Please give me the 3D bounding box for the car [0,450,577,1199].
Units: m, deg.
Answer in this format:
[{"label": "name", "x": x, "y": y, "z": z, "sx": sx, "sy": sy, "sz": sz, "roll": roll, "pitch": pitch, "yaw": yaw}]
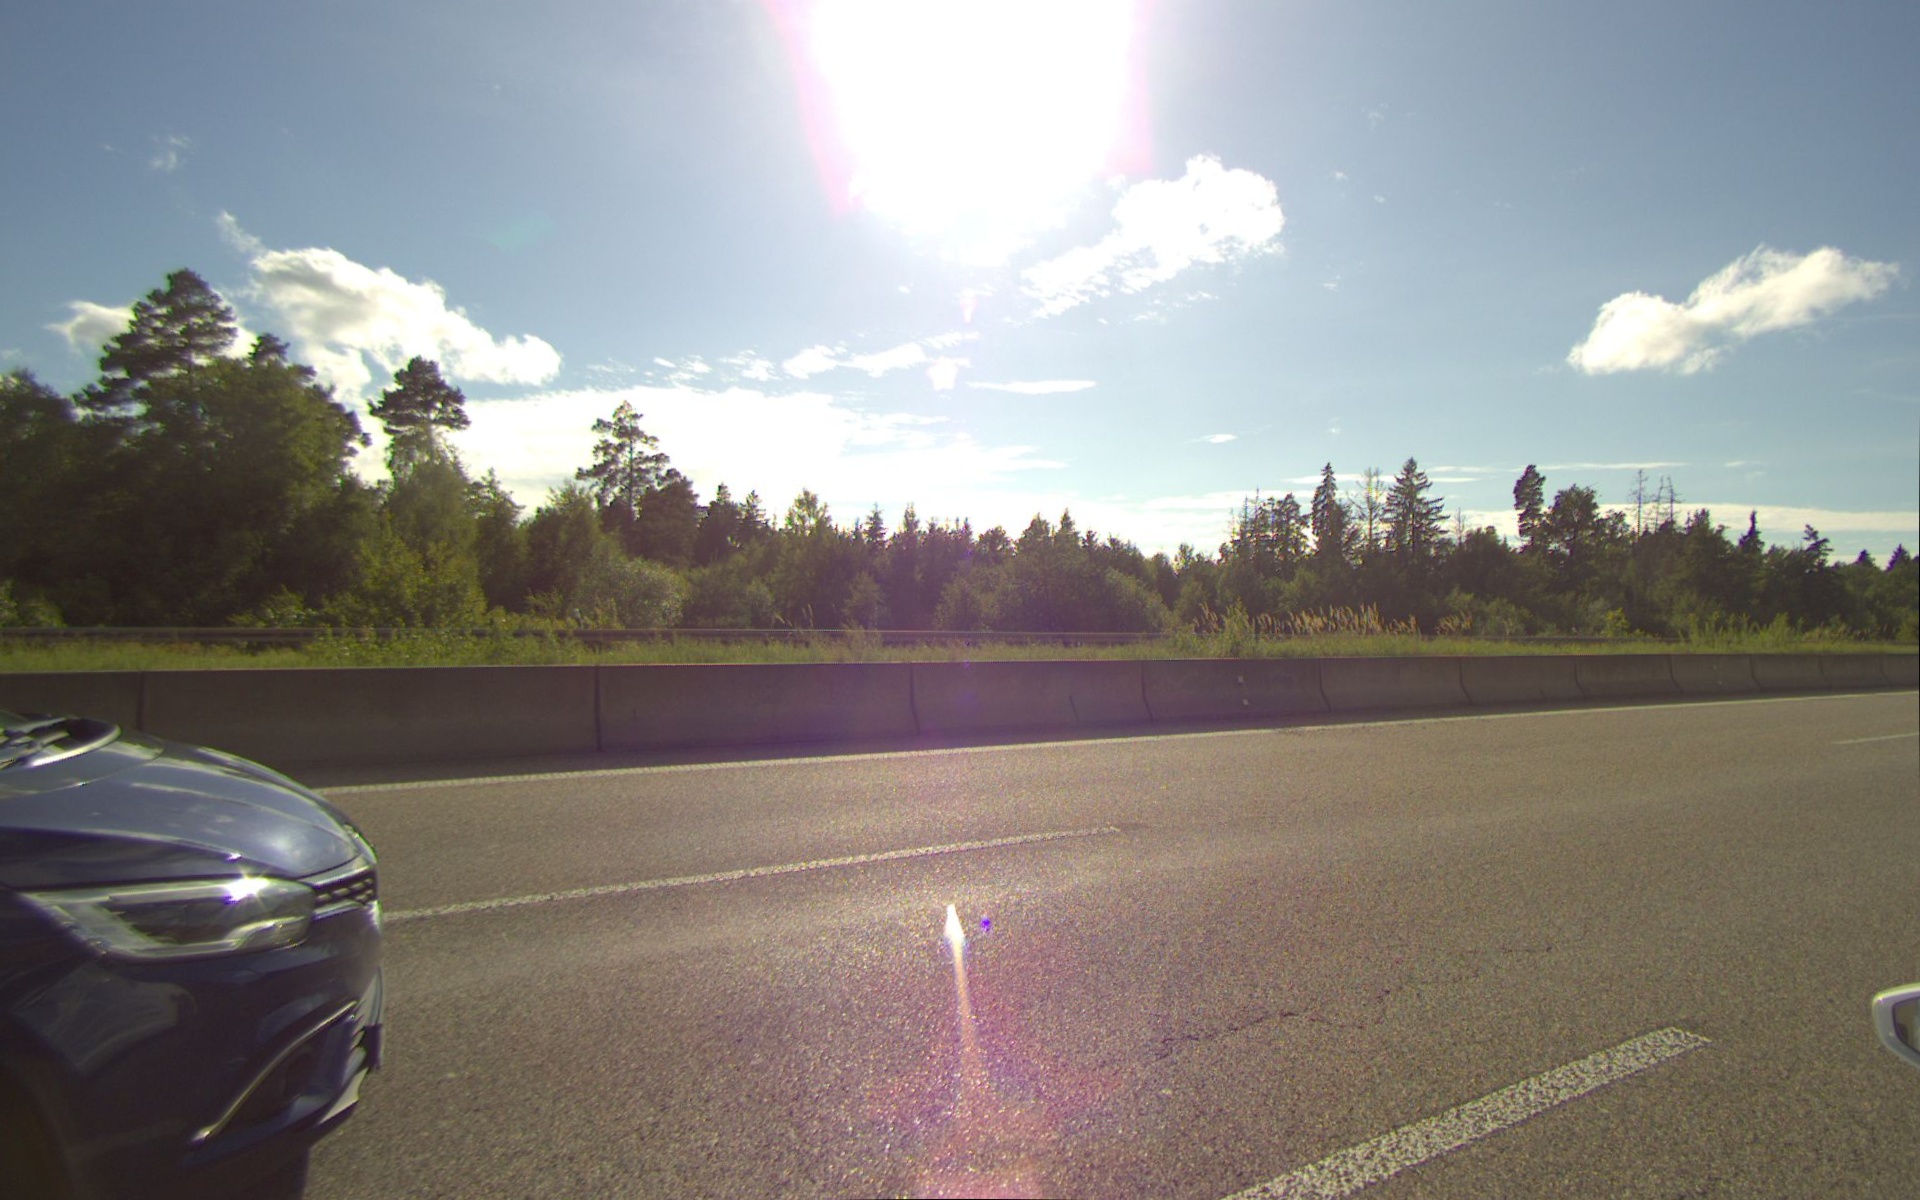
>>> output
[{"label": "car", "x": -3.304, "y": 0.554, "z": 2.001, "sx": 4.476, "sy": 1.729, "sz": 1.984, "roll": 2, "pitch": 0, "yaw": -31}]
